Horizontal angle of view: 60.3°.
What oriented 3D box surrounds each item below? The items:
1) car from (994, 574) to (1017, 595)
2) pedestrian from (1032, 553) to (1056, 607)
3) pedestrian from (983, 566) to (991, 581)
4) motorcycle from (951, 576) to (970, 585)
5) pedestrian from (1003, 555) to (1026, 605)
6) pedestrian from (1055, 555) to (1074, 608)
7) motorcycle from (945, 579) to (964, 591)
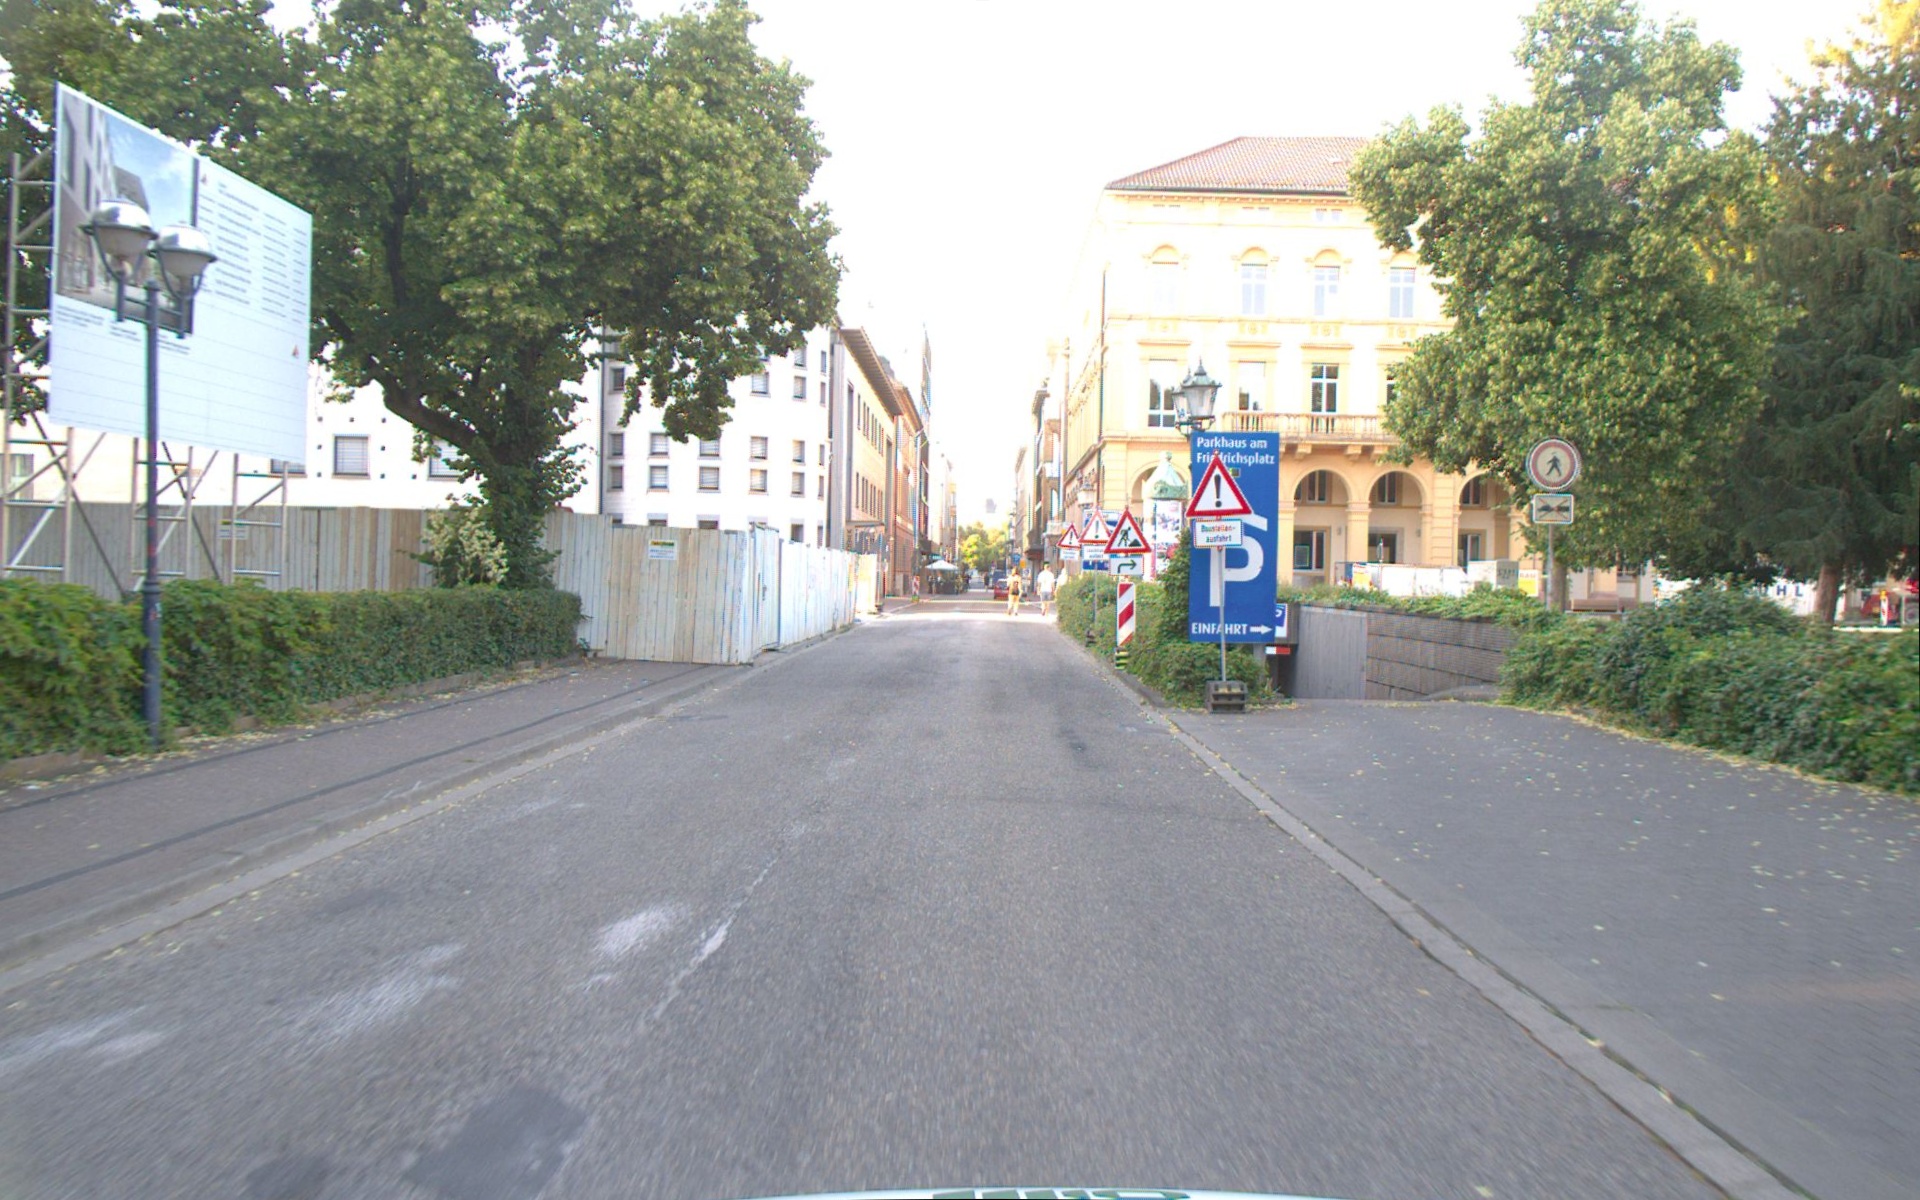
[{"bbox_3d":[3.349,-1.136,121.440,1.615,1.452,3.536,4,1,1],"label":"car"},{"bbox_3d":[3.004,-0.716,59.411,0.795,1.908,0.875,0,1,0],"label":"pedestrian"},{"bbox_3d":[2.984,-2.922,181.694,0.788,1.702,0.889,1,1,3],"label":"pedestrian"},{"bbox_3d":[0.023,-1.916,161.267,1.765,0.891,0.560,1,1,-4],"label":"motorcycle"},{"bbox_3d":[1.949,-0.733,59.290,0.760,1.777,0.875,0,1,0],"label":"pedestrian"},{"bbox_3d":[3.668,-0.644,58.199,0.623,1.834,0.772,0,1,0],"label":"pedestrian"},{"bbox_3d":[-0.517,-1.415,153.065,1.765,1.058,0.493,1,1,-4],"label":"motorcycle"}]
